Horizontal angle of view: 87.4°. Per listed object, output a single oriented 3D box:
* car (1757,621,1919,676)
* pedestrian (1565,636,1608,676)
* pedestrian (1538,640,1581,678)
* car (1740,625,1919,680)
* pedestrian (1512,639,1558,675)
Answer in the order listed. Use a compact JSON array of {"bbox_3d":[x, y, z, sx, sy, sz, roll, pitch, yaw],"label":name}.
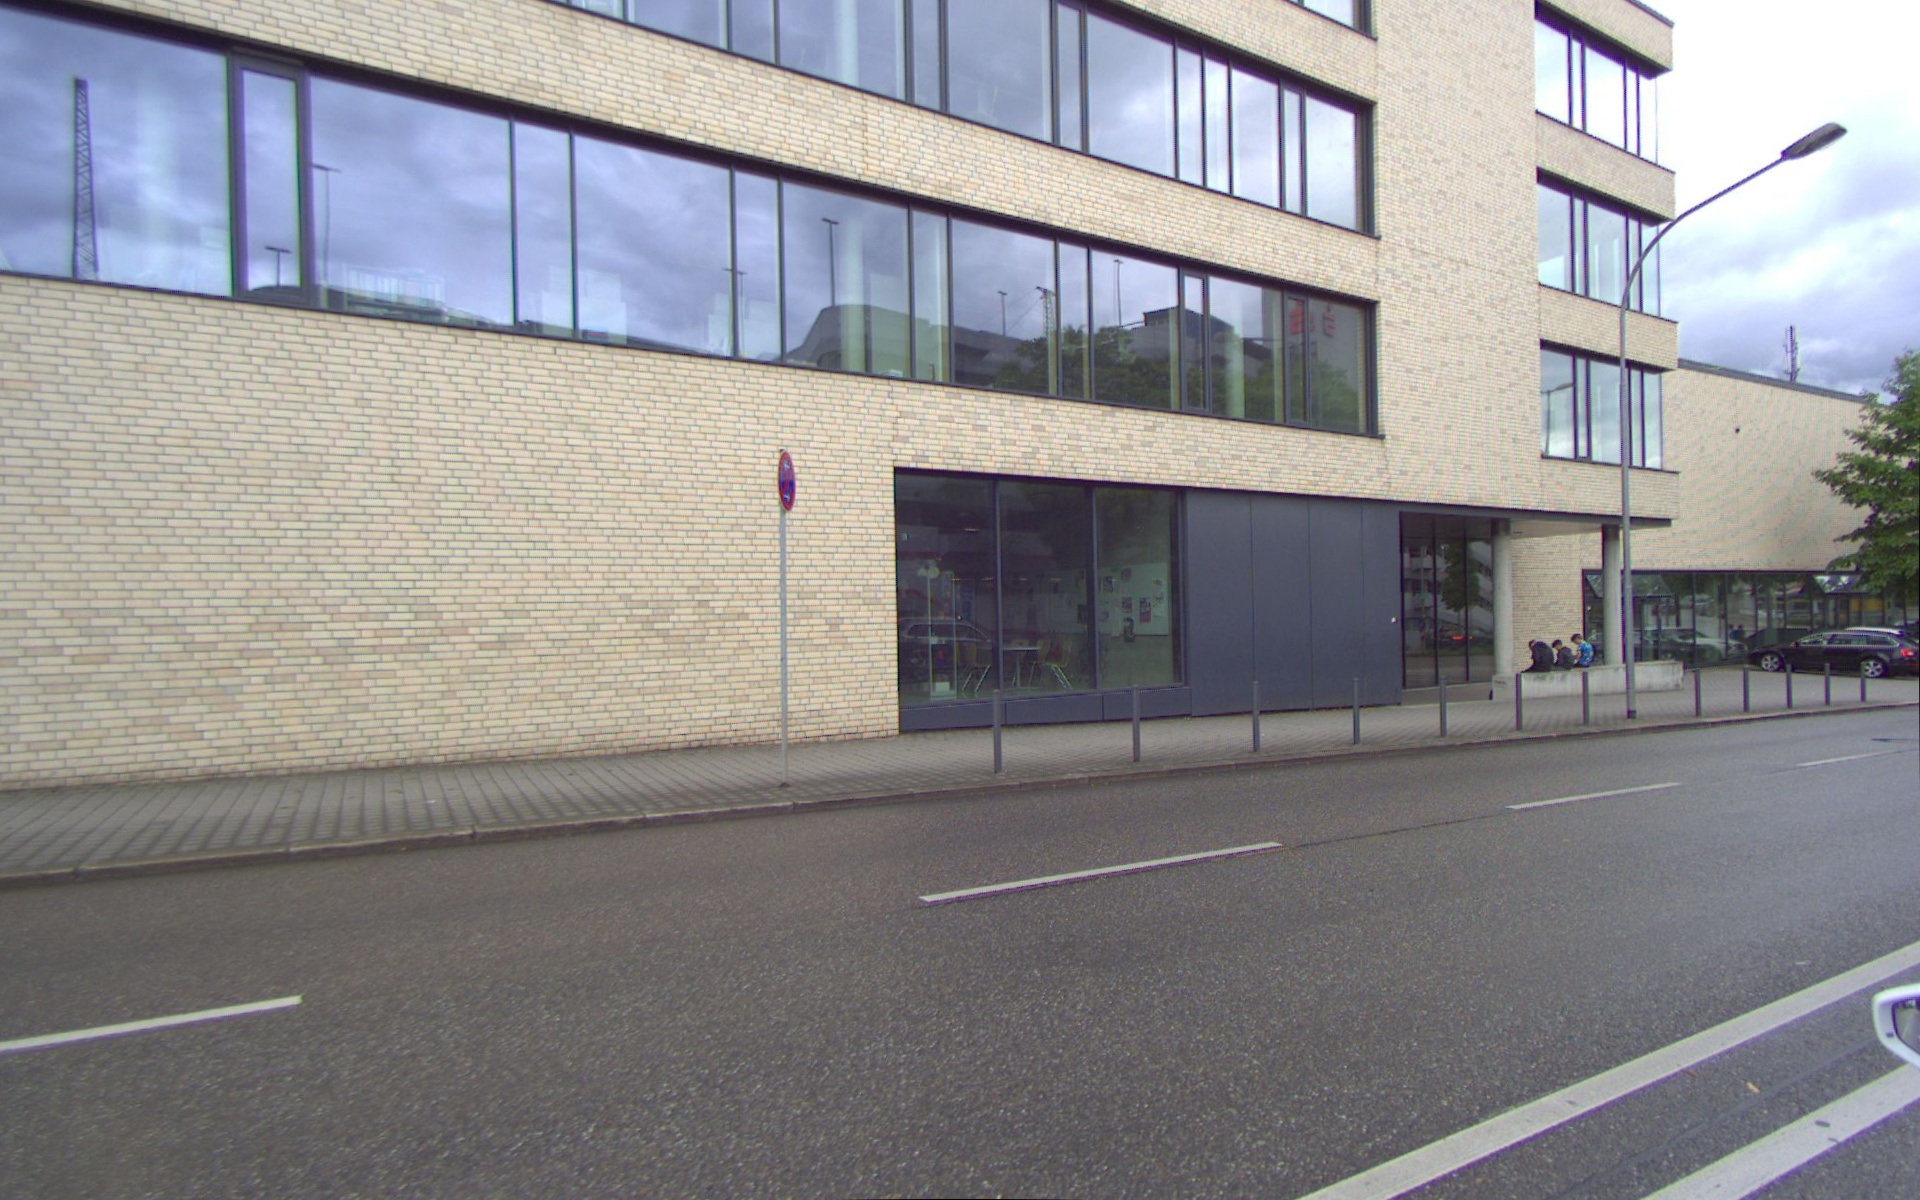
[{"bbox_3d":[30.806,1.628,35.006,1.979,1.595,4.389,-1,1,-33],"label":"car"},{"bbox_3d":[14.936,1.328,23.945,0.518,0.897,0.678,2,0,-29],"label":"pedestrian"},{"bbox_3d":[14.019,1.368,23.501,0.718,0.856,0.584,2,-1,-29],"label":"pedestrian"},{"bbox_3d":[28.998,1.691,33.436,1.980,1.608,4.439,1,0,-35],"label":"car"},{"bbox_3d":[13.184,1.305,23.033,0.751,0.796,0.595,2,0,-29],"label":"pedestrian"}]
